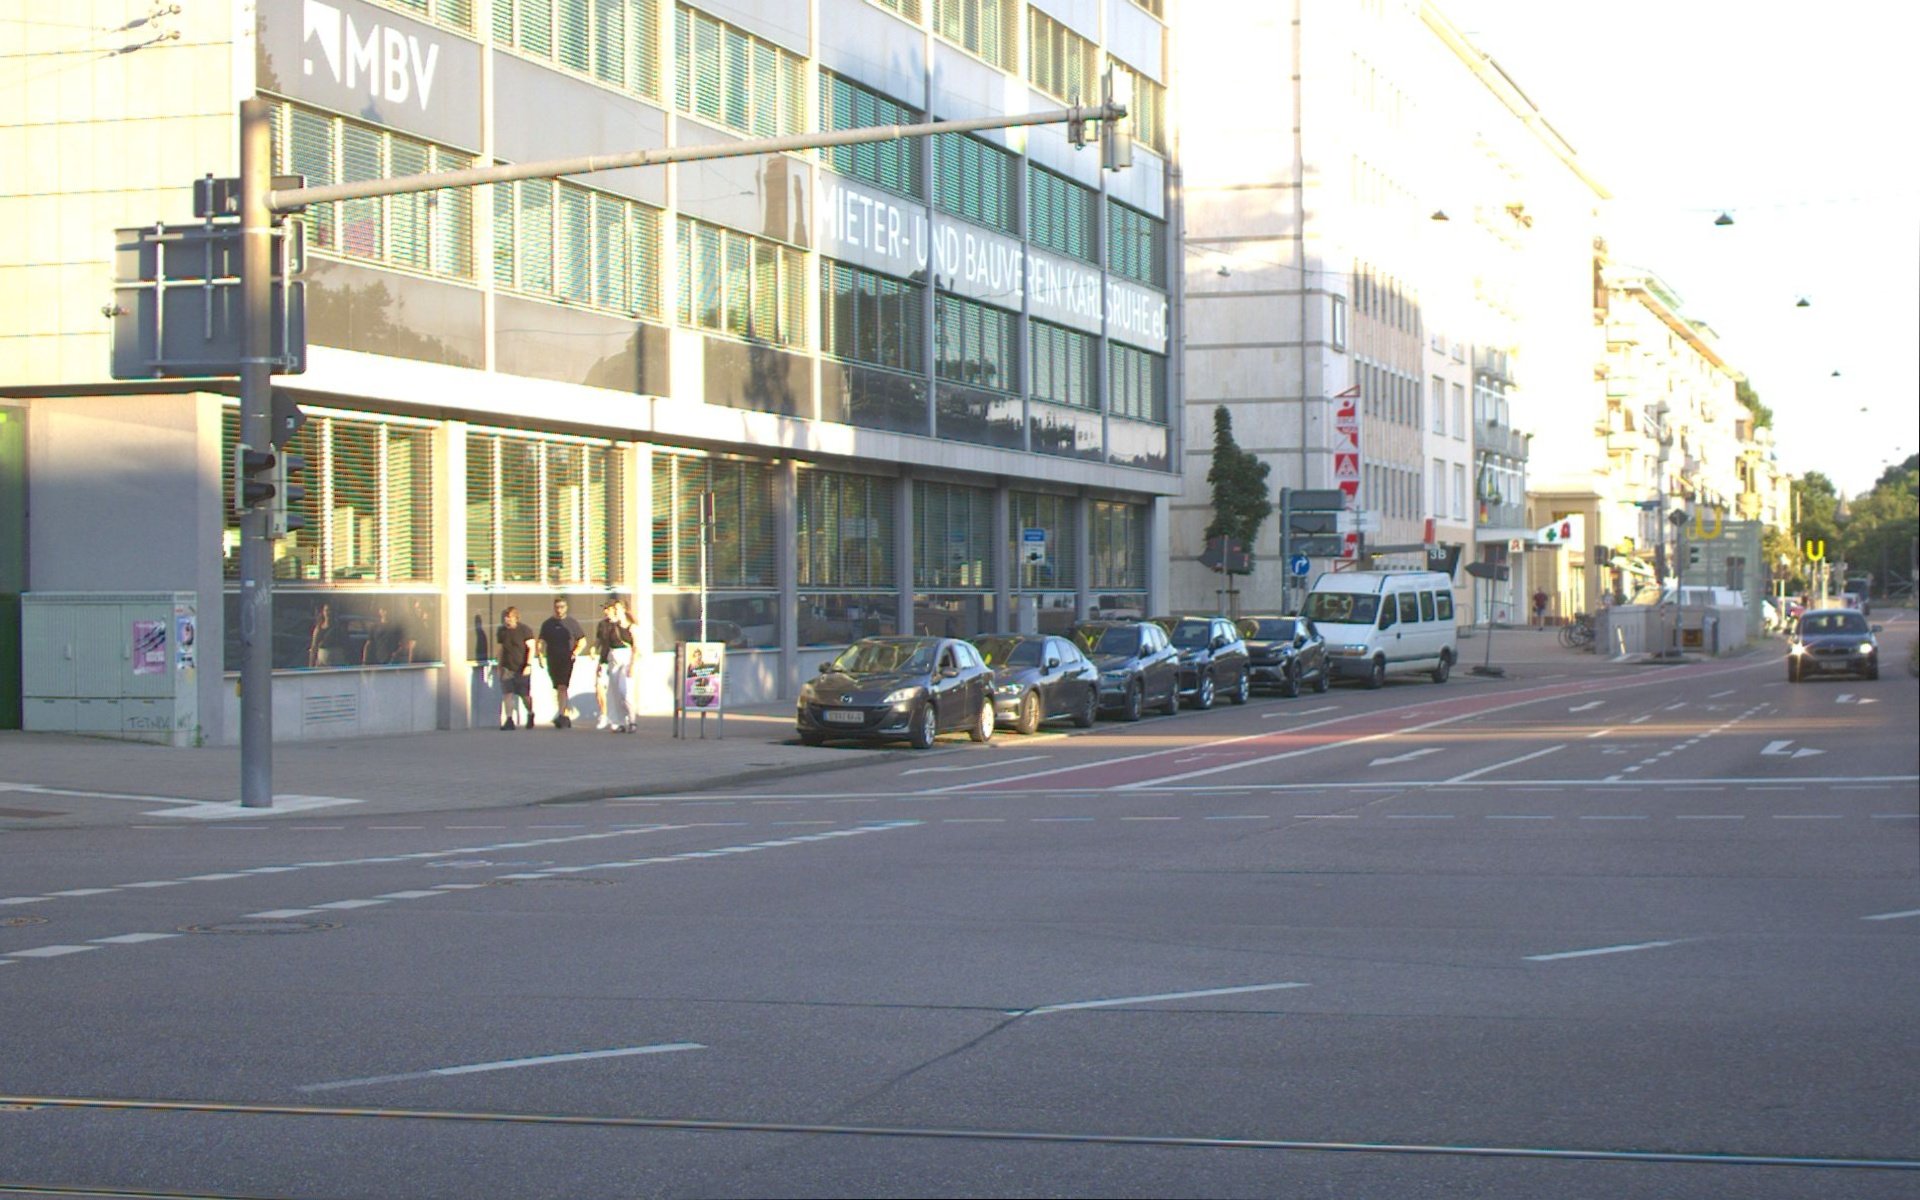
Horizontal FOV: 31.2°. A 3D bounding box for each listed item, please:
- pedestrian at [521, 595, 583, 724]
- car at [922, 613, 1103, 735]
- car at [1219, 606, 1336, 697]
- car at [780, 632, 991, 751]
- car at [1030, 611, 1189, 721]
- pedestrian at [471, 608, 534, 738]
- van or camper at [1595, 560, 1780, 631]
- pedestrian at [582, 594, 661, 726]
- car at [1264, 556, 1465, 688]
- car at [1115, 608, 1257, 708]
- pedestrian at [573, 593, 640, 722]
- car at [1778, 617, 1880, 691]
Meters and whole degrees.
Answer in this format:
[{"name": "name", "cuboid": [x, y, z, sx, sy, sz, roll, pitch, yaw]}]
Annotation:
[{"name": "pedestrian", "cuboid": [-5.632, 0.814, 47.457, 0.653, 1.762, 0.646, 0, 0, 13]}, {"name": "car", "cuboid": [0.844, 1.088, 52.084, 1.694, 1.659, 3.865, 3, 1, 16]}, {"name": "car", "cuboid": [6.311, 0.987, 68.071, 1.500, 1.659, 3.865, 3, 1, 16]}, {"name": "car", "cuboid": [-0.954, 1.197, 46.419, 1.694, 1.406, 3.865, 3, 1, 16]}, {"name": "car", "cuboid": [2.521, 1.069, 57.180, 1.694, 1.659, 3.865, 3, 1, 16]}, {"name": "pedestrian", "cuboid": [-6.219, 0.986, 46.733, 0.653, 1.762, 0.646, 0, 0, 13]}, {"name": "van or camper", "cuboid": [24.177, -0.135, 114.321, 5.506, 2.159, 2.245, -2, -1, -13]}, {"name": "pedestrian", "cuboid": [-4.570, 0.805, 46.462, 0.841, 1.762, 0.785, 0, 0, 13]}, {"name": "car", "cuboid": [8.798, 0.481, 74.261, 2.241, 2.620, 5.844, 4, 1, 27]}, {"name": "car", "cuboid": [4.140, 1.022, 62.412, 1.694, 1.659, 3.865, 3, 1, 16]}, {"name": "pedestrian", "cuboid": [-4.868, 0.783, 47.391, 0.739, 1.762, 0.672, 0, 0, 13]}, {"name": "car", "cuboid": [17.600, 1.073, 69.529, 1.694, 1.416, 4.170, -1, 0, 18]}]
